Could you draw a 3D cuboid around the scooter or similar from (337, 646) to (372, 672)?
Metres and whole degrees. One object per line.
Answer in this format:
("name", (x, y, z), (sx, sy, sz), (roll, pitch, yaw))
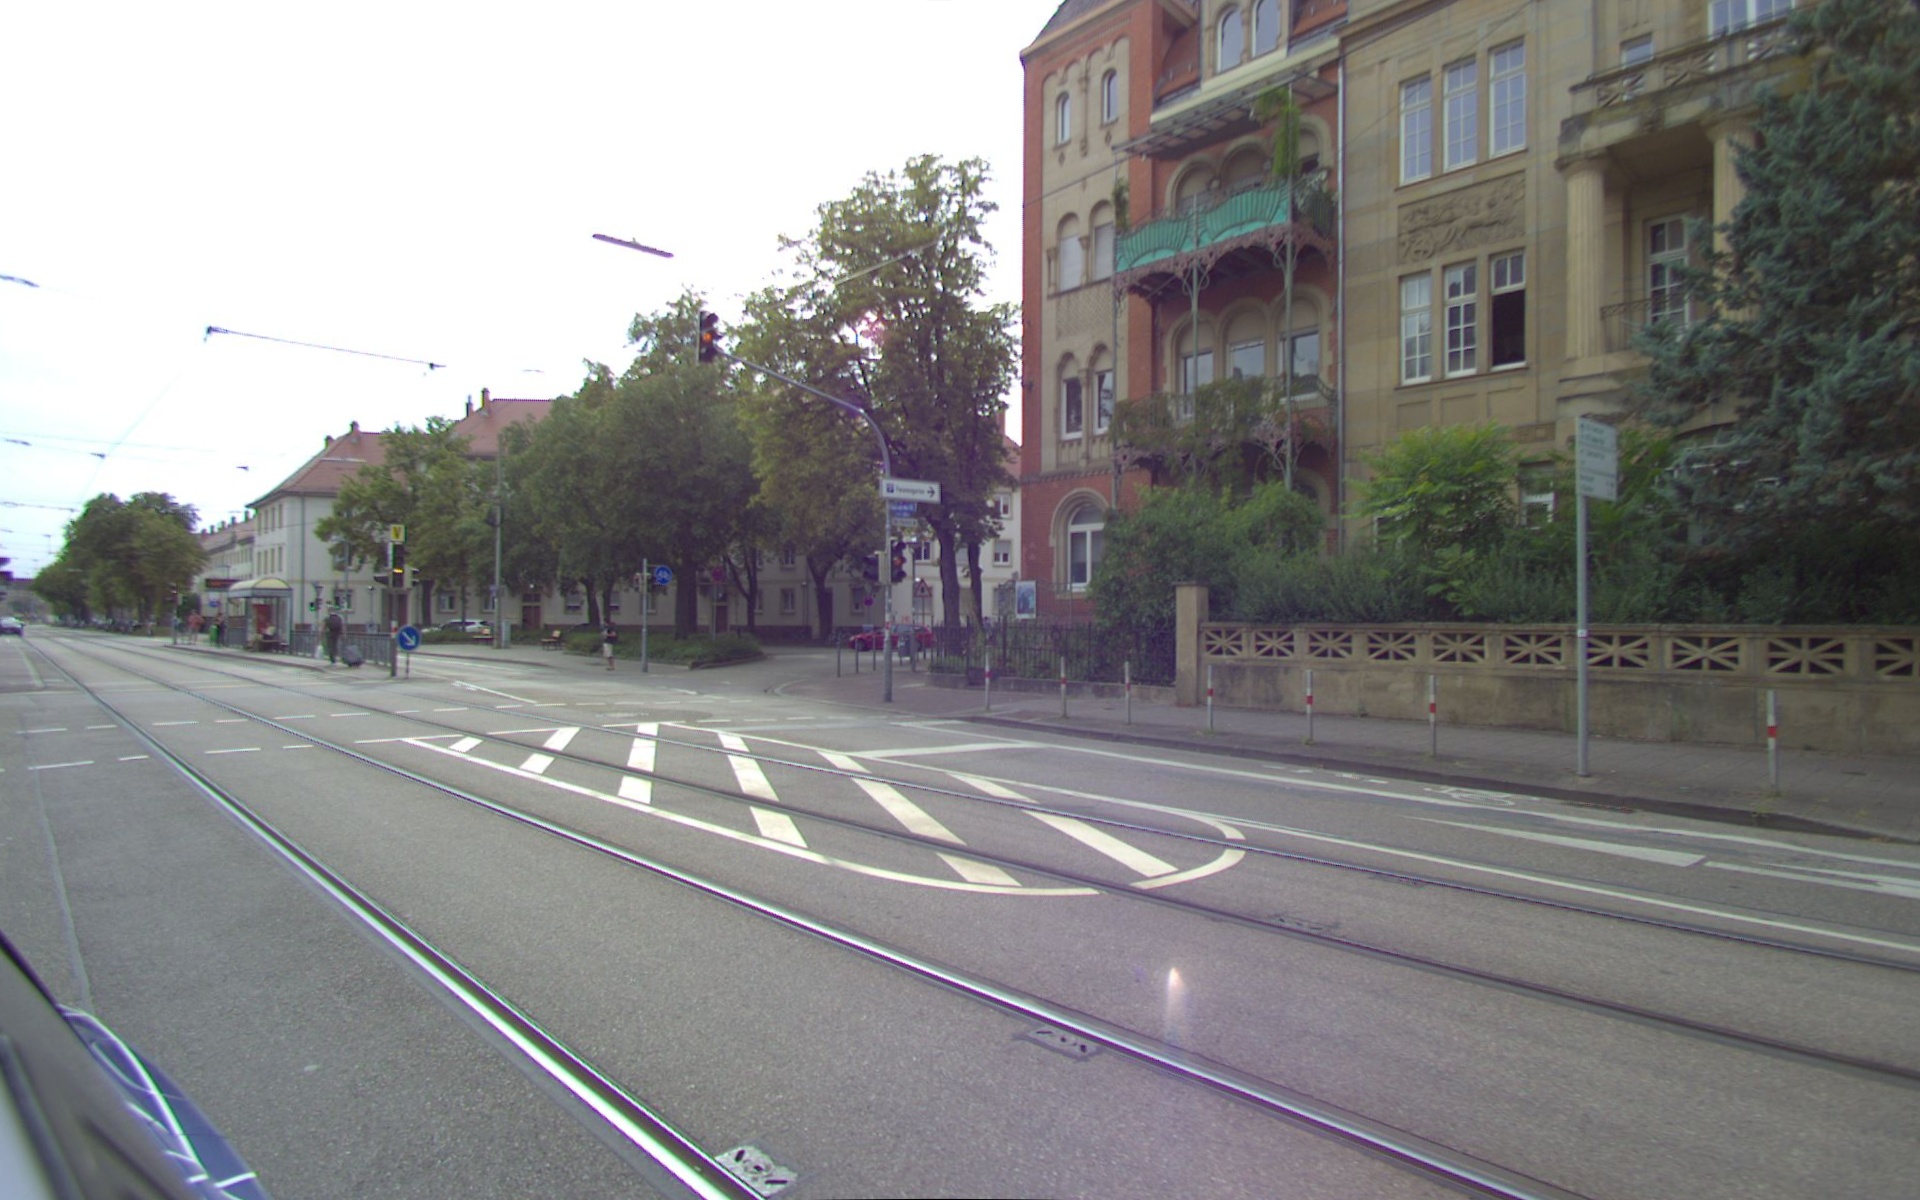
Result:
("scooter or similar", (-16.993, 1.657, 28.414), (0.659, 0.718, 0.605), (1, -2, -13))

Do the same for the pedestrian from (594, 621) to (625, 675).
("pedestrian", (-11.198, 1.514, 32.343), (0.712, 1.703, 0.645), (-1, -2, 42))

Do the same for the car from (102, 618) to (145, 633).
("car", (-101.660, 3.125, 123.006), (3.938, 1.739, 1.879), (0, -1, -42))

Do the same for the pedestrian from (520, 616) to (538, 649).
("pedestrian", (-26.577, 1.978, 62.381), (0.850, 2.029, 0.766), (0, -1, -10))

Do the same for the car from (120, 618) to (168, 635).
("car", (-87.122, 2.810, 108.100), (3.938, 1.739, 1.879), (0, -1, -42))

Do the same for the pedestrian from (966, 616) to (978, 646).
("pedestrian", (0.731, 1.864, 60.951), (0.543, 1.840, 0.590), (0, -1, -24))

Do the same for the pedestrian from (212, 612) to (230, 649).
("pedestrian", (-34.686, 1.428, 47.481), (0.619, 1.716, 0.580), (-1, -1, 42))

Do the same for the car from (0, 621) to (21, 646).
("car", (-81.828, 2.851, 86.704), (1.969, 2.029, 4.005), (0, -1, -42))

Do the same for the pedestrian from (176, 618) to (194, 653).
("pedestrian", (-41.241, 1.875, 53.873), (0.463, 1.848, 0.651), (-1, -1, 33))

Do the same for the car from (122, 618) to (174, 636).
("car", (-81.041, 2.668, 100.986), (3.938, 1.739, 1.879), (0, -1, -42))

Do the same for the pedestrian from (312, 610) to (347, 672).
("pedestrian", (-17.791, 1.150, 28.555), (0.674, 1.703, 0.816), (2, -2, -44))

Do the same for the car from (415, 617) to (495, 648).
("car", (-31.843, 2.024, 63.887), (4.132, 1.879, 1.857), (0, -1, -9))

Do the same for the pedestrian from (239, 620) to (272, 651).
("pedestrian", (-29.137, 1.478, 41.842), (0.724, 1.246, 1.018), (-1, -1, 44))

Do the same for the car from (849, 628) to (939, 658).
("car", (-3.209, 2.127, 49.917), (4.254, 1.415, 1.702), (0, -2, 3))

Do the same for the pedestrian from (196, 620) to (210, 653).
("pedestrian", (-40.727, 1.959, 54.450), (0.401, 1.716, 0.495), (-1, -1, 33))
